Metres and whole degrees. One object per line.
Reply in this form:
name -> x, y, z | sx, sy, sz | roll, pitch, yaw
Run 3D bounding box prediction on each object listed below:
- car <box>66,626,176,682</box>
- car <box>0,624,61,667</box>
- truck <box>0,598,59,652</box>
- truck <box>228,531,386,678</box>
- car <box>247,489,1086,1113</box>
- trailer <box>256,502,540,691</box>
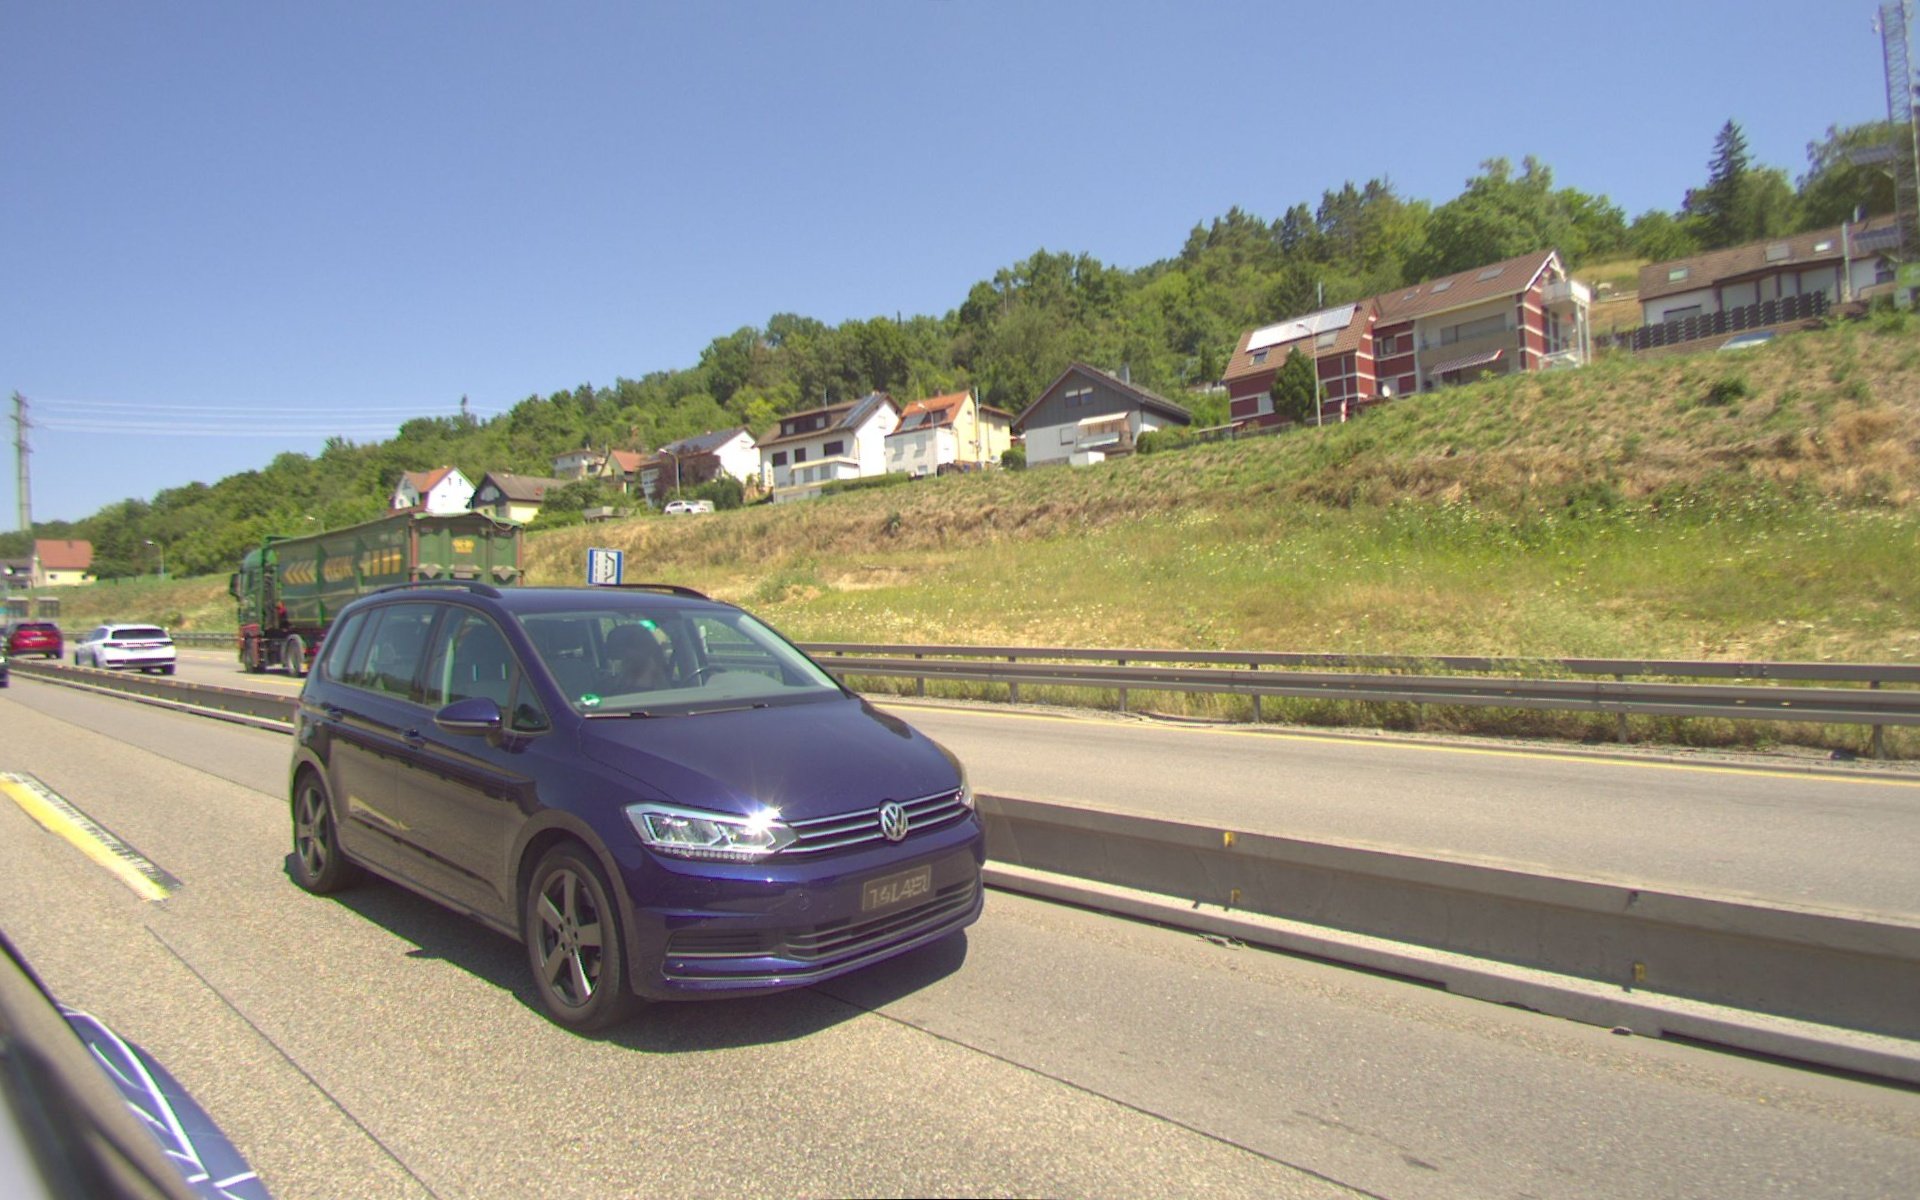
car -> -24.536, 1.519, 29.542 | 4.437, 1.481, 1.755 | -2, -1, 40
car -> -40.895, 1.962, 44.357 | 4.043, 1.729, 1.793 | -2, -1, 42
truck -> -64.502, 1.716, 68.777 | 15.924, 3.348, 2.734 | -2, -1, 40
truck -> -19.183, 0.165, 29.690 | 4.176, 3.968, 2.865 | -2, -1, 41
car -> -1.821, 0.623, 5.020 | 4.650, 1.731, 1.757 | -2, -1, 41
trailer -> -14.629, 0.042, 25.746 | 10.520, 3.968, 2.883 | -2, -1, 41
